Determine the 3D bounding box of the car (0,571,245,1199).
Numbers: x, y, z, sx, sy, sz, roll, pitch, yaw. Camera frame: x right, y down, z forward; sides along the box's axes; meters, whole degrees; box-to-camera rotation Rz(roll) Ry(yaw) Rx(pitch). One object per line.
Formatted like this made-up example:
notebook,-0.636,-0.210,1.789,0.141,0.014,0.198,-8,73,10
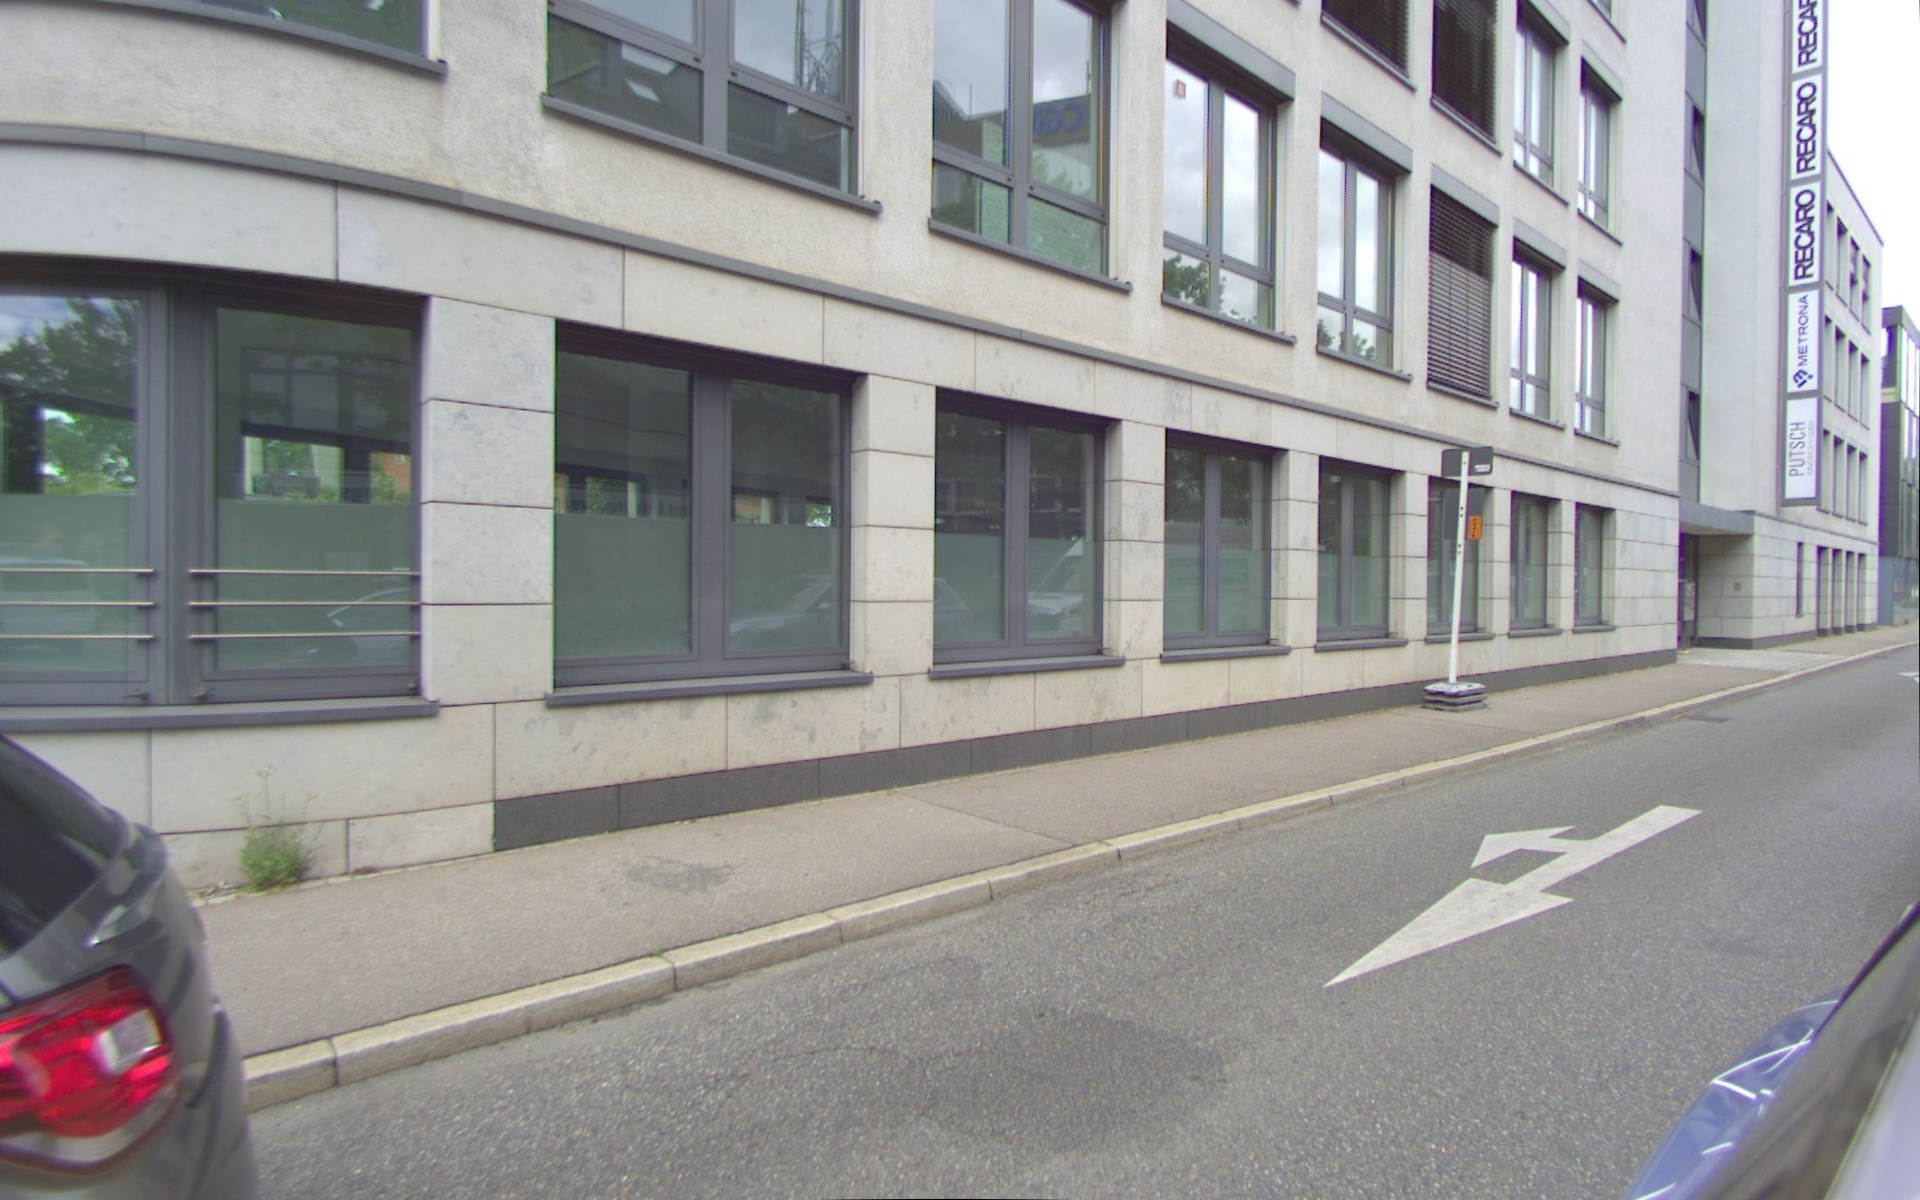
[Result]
car,-2.913,0.733,0.537,3.992,1.479,1.703,-1,0,-42
